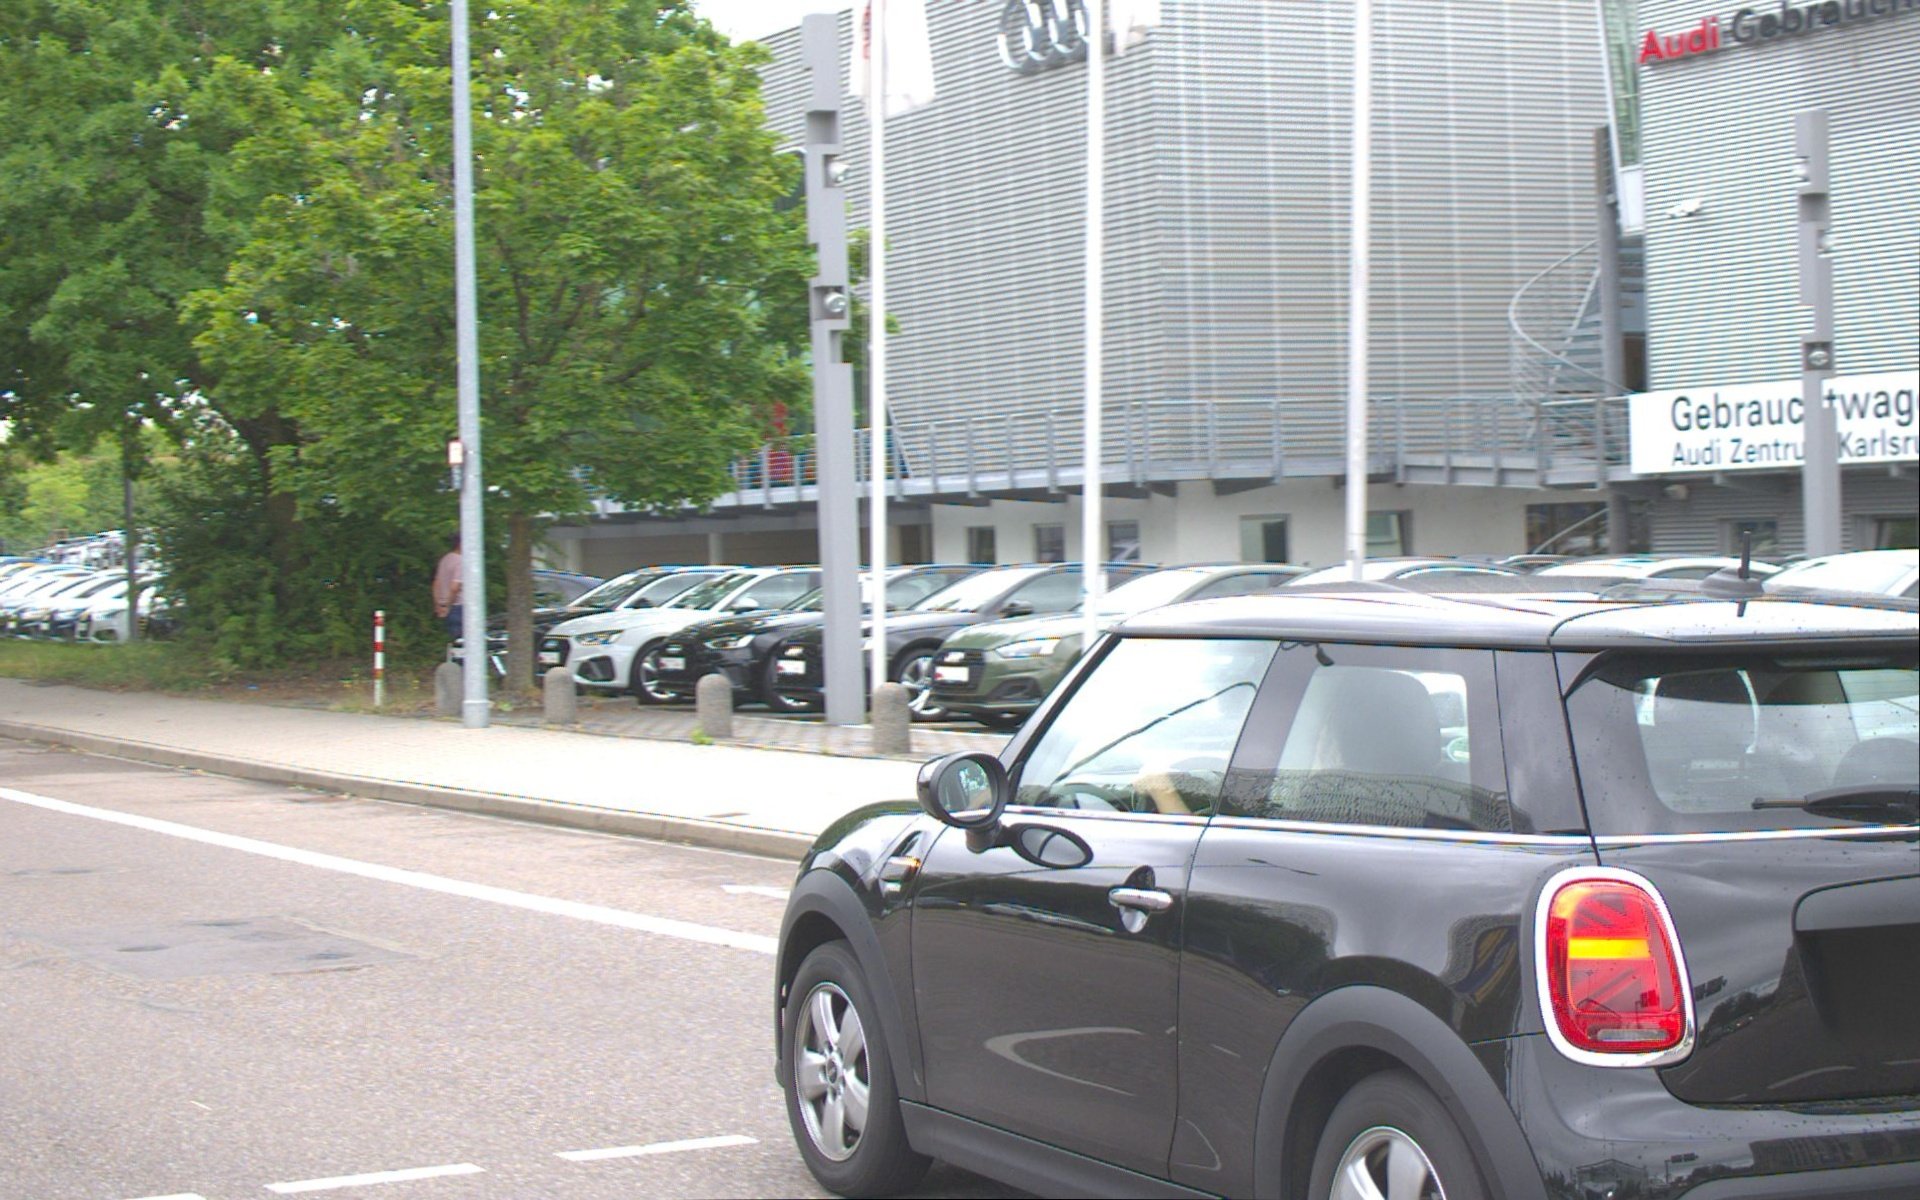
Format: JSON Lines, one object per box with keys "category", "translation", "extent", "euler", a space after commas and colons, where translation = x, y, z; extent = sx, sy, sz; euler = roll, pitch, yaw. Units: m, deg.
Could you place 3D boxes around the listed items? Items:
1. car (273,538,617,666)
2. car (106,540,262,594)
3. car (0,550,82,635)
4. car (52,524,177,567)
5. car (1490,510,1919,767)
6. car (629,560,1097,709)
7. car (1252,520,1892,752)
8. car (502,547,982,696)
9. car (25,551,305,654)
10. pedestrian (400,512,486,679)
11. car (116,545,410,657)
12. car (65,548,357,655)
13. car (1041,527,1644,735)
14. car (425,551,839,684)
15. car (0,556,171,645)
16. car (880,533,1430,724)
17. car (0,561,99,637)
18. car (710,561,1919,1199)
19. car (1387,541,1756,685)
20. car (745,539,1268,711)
{"category": "car", "translation": [-6.960, 0.034, 46.538], "extent": [4.122, 1.389, 1.871], "euler": [4, 0, -28]}
{"category": "car", "translation": [-22.442, -0.955, 99.453], "extent": [4.085, 1.431, 1.730], "euler": [-2, 3, -29]}
{"category": "car", "translation": [-21.501, -0.263, 74.175], "extent": [4.549, 1.696, 2.000], "euler": [4, 0, -27]}
{"category": "car", "translation": [-30.702, -1.988, 124.863], "extent": [4.085, 1.431, 1.730], "euler": [-2, 3, -29]}
{"category": "car", "translation": [5.594, 0.237, 21.554], "extent": [4.184, 1.481, 1.853], "euler": [1, 0, -27]}
{"category": "car", "translation": [-0.939, 0.333, 33.616], "extent": [4.153, 1.386, 1.903], "euler": [1, 0, -28]}
{"category": "car", "translation": [4.238, 0.244, 23.763], "extent": [4.030, 1.481, 1.877], "euler": [1, 0, -27]}
{"category": "car", "translation": [-2.260, 0.212, 35.964], "extent": [4.648, 1.467, 1.848], "euler": [0, 1, -28]}
{"category": "car", "translation": [-13.417, 0.049, 58.034], "extent": [4.181, 1.481, 1.977], "euler": [3, 1, -27]}
{"category": "pedestrian", "translation": [-5.812, -0.052, 38.668], "extent": [0.717, 1.865, 0.673], "euler": [0, 0, 18]}
{"category": "car", "translation": [-10.850, 0.016, 53.549], "extent": [4.062, 1.481, 1.819], "euler": [3, 0, -28]}
{"category": "car", "translation": [-12.153, 0.029, 55.808], "extent": [4.195, 1.481, 1.959], "euler": [3, 1, -28]}
{"category": "car", "translation": [2.928, 0.235, 26.203], "extent": [4.217, 1.481, 1.872], "euler": [1, 0, -27]}
{"category": "car", "translation": [-3.657, 0.177, 38.431], "extent": [4.203, 1.416, 1.856], "euler": [0, 1, -28]}
{"category": "car", "translation": [-17.968, -0.045, 67.460], "extent": [4.392, 1.515, 2.000], "euler": [4, 0, -27]}
{"category": "car", "translation": [1.634, 0.235, 28.592], "extent": [4.176, 1.481, 1.909], "euler": [1, 0, -28]}
{"category": "car", "translation": [-20.356, -0.099, 71.840], "extent": [4.174, 1.441, 1.960], "euler": [4, 0, -27]}
{"category": "car", "translation": [0.957, 0.633, 7.088], "extent": [1.785, 1.411, 3.644], "euler": [-1, 1, -24]}
{"category": "car", "translation": [7.315, 0.121, 41.074], "extent": [4.102, 1.539, 1.817], "euler": [-2, 3, -28]}
{"category": "car", "translation": [0.434, 0.226, 31.216], "extent": [4.365, 1.465, 1.895], "euler": [1, 0, -28]}
